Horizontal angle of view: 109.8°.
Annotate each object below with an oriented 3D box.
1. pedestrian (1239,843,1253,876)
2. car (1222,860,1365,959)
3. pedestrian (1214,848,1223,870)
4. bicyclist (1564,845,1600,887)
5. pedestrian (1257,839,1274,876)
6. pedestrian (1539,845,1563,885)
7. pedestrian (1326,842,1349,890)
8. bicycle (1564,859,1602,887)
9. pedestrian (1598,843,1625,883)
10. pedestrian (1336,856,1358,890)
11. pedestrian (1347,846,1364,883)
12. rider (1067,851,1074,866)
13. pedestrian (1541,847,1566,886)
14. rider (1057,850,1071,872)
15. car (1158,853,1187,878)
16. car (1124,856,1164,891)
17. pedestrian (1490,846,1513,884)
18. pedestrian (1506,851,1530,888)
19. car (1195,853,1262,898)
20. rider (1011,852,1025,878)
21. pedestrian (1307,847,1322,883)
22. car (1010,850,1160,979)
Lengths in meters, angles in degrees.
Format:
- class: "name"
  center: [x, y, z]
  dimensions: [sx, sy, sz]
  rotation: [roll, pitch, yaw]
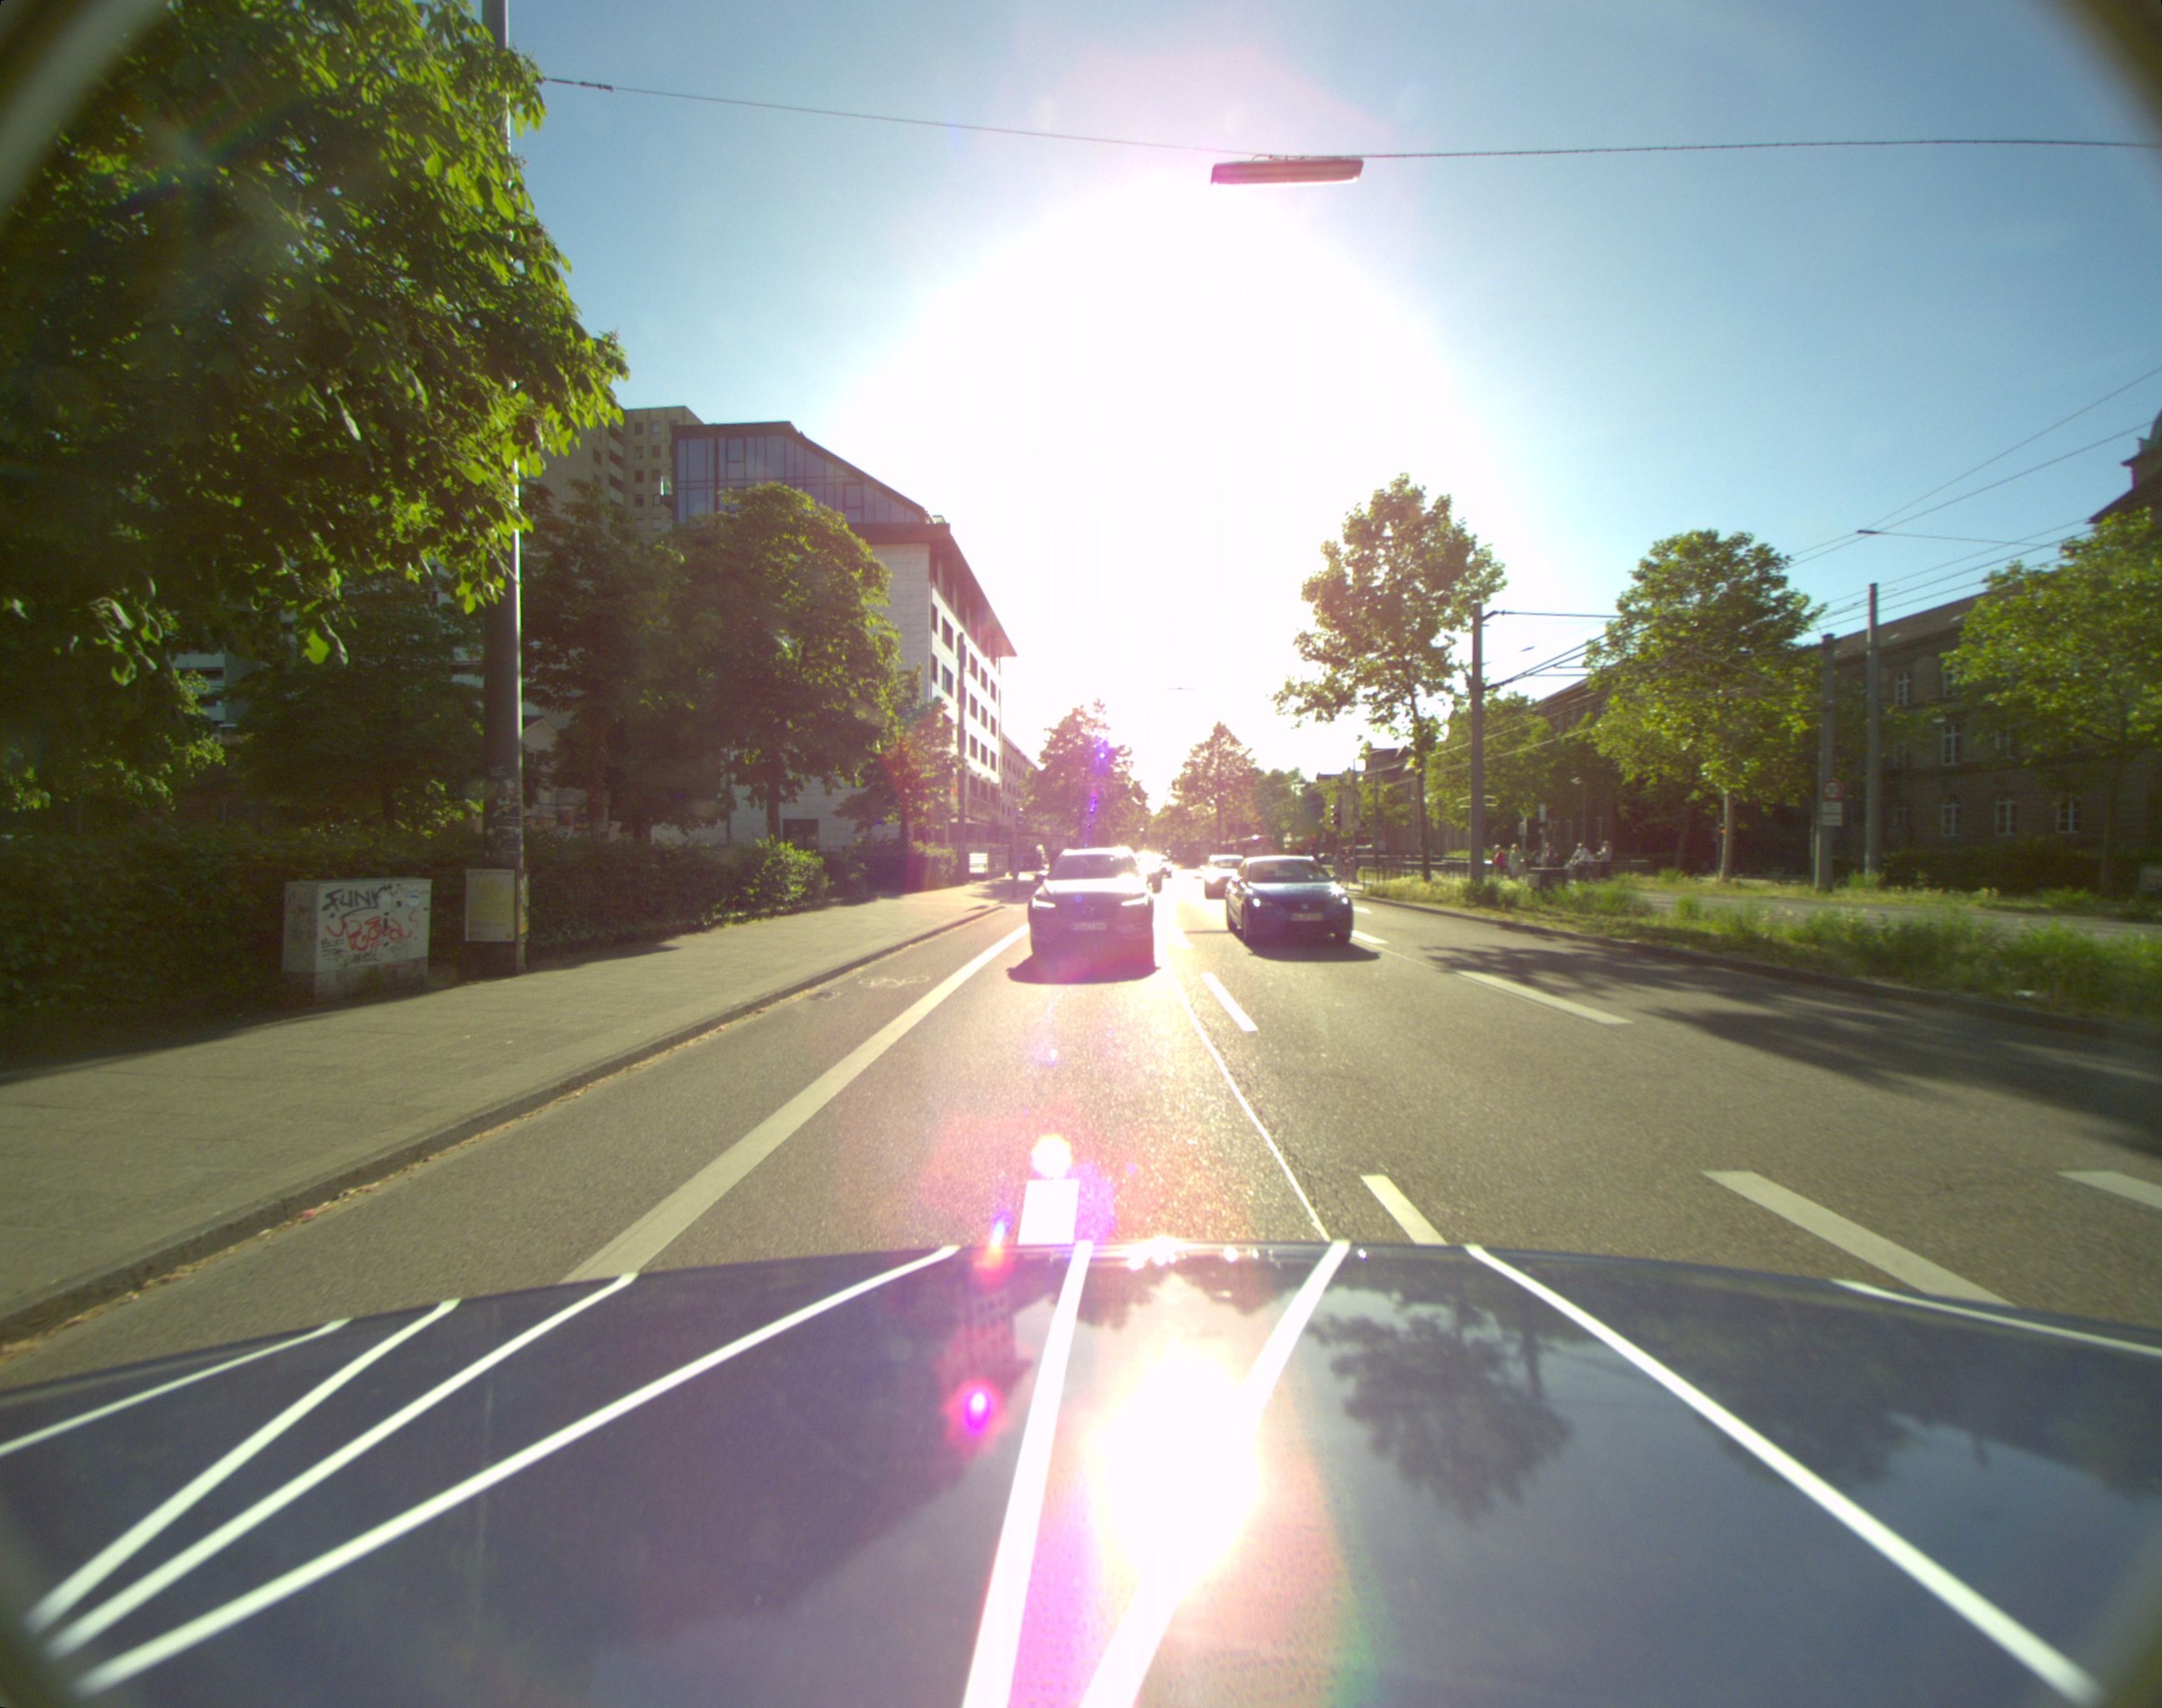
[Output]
- class: "pedestrian"
  center: [10.391, 0.332, 47.914]
  dimensions: [0.711, 2.002, 0.787]
  rotation: [-2, 1, 5]
- class: "car"
  center: [3.643, 0.882, 13.708]
  dimensions: [1.777, 1.439, 3.870]
  rotation: [-2, 0, 5]
- class: "pedestrian"
  center: [12.852, 0.464, 71.178]
  dimensions: [0.714, 2.103, 0.787]
  rotation: [-2, 1, 8]
- class: "bicyclist"
  center: [20.146, 0.460, 30.554]
  dimensions: [0.970, 1.634, 0.833]
  rotation: [-2, 1, -29]
- class: "pedestrian"
  center: [11.085, 0.196, 45.690]
  dimensions: [0.785, 2.175, 0.801]
  rotation: [-2, 1, 24]
- class: "pedestrian"
  center: [21.030, 0.490, 33.996]
  dimensions: [0.595, 1.726, 0.698]
  rotation: [-2, 1, -29]
- class: "pedestrian"
  center: [9.812, 0.464, 29.088]
  dimensions: [0.647, 1.796, 0.504]
  rotation: [-2, 1, -7]
- class: "bicycle"
  center: [20.169, 0.748, 30.537]
  dimensions: [1.666, 1.035, 0.543]
  rotation: [-1, 1, -28]
- class: "pedestrian"
  center: [22.012, 0.377, 31.522]
  dimensions: [0.595, 1.612, 0.698]
  rotation: [-2, 1, -29]
- class: "pedestrian"
  center: [9.978, 0.699, 28.506]
  dimensions: [0.594, 1.226, 0.425]
  rotation: [-2, 1, -7]
- class: "pedestrian"
  center: [12.384, 0.456, 34.333]
  dimensions: [0.544, 1.652, 0.730]
  rotation: [-2, 1, 8]
- class: "rider"
  center: [-1.280, 0.513, 90.490]
  dimensions: [0.759, 1.717, 0.895]
  rotation: [-2, 1, 2]
- class: "pedestrian"
  center: [20.331, 0.549, 32.705]
  dimensions: [0.595, 1.634, 0.698]
  rotation: [-3, 1, -33]
- class: "rider"
  center: [-1.339, 0.551, 60.093]
  dimensions: [0.924, 1.668, 0.977]
  rotation: [-2, 1, 4]
- class: "car"
  center: [6.332, 0.730, 52.218]
  dimensions: [1.774, 1.567, 3.825]
  rotation: [-2, 0, 9]
- class: "car"
  center: [2.694, 0.800, 32.455]
  dimensions: [1.604, 1.386, 4.001]
  rotation: [0, 0, 5]
- class: "pedestrian"
  center: [19.730, 0.530, 35.652]
  dimensions: [0.595, 1.735, 0.698]
  rotation: [-2, 1, -29]
- class: "pedestrian"
  center: [19.705, 0.694, 34.293]
  dimensions: [0.595, 1.666, 0.698]
  rotation: [-2, 1, -29]
- class: "car"
  center: [5.226, 0.725, 27.344]
  dimensions: [1.798, 1.420, 4.001]
  rotation: [-2, 0, 3]
- class: "rider"
  center: [-3.891, 0.662, 46.981]
  dimensions: [0.778, 1.582, 0.790]
  rotation: [1, 1, 0]
- class: "pedestrian"
  center: [10.849, 0.489, 35.300]
  dimensions: [0.580, 1.652, 0.667]
  rotation: [-2, 1, 12]
- class: "car"
  center: [0.155, 0.788, 12.592]
  dimensions: [1.948, 1.690, 5.307]
  rotation: [0, 0, 2]
